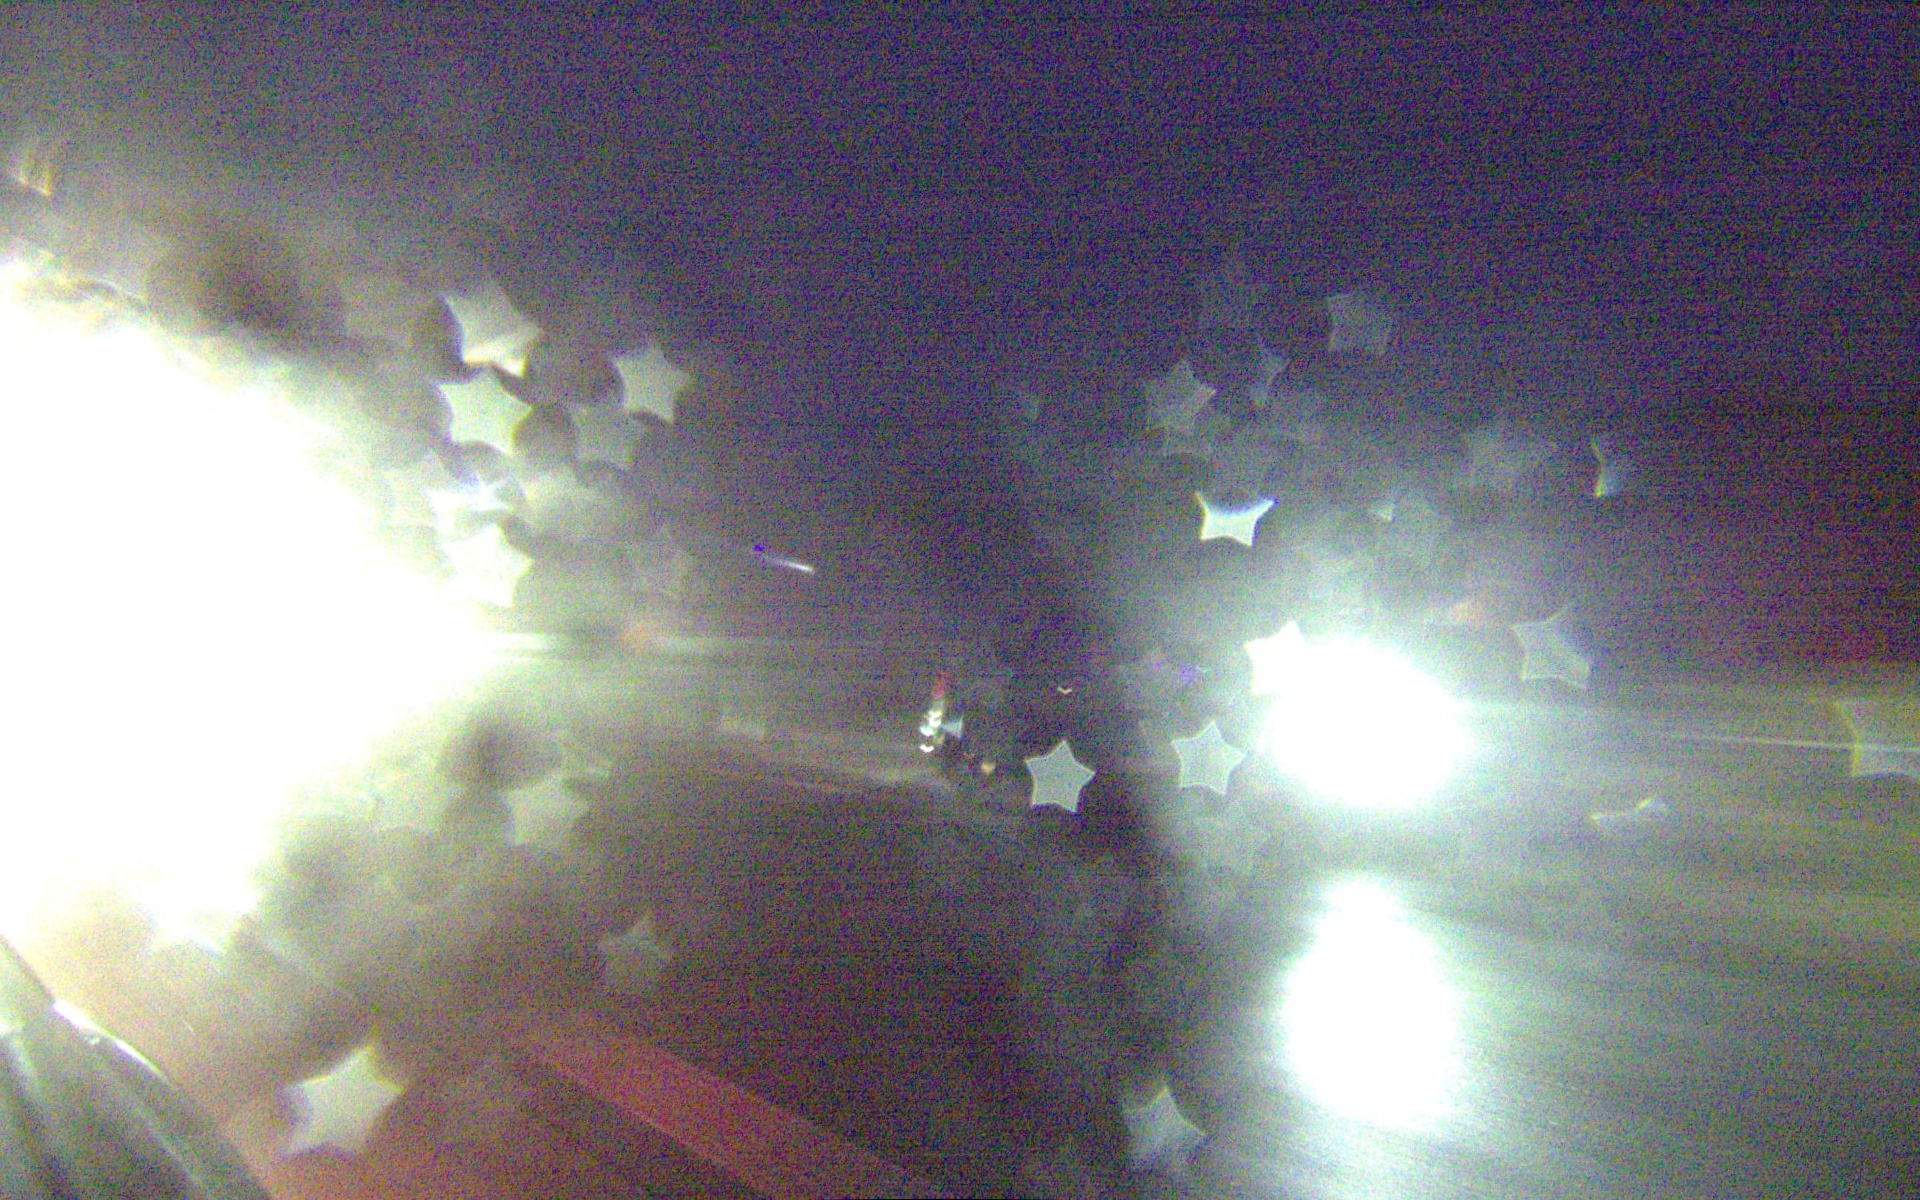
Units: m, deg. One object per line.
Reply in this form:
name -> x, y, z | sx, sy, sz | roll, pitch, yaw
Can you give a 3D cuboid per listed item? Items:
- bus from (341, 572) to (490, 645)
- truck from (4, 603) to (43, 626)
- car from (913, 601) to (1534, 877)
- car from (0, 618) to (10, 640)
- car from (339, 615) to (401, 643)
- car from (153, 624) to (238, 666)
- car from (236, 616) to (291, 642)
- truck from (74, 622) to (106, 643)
bus -> -37.354, 0.602, 68.817 | 17.002, 4.524, 3.043 | -1, 0, 41
truck -> -171.093, 2.658, 184.830 | 17.173, 3.917, 3.463 | -1, 0, 41
car -> 1.776, 0.767, 7.490 | 3.998, 1.452, 1.973 | -1, 0, 41
car -> -82.316, 2.440, 85.977 | 3.999, 1.821, 1.972 | -1, 0, 42
car -> -35.788, 1.714, 61.301 | 4.457, 1.569, 1.861 | -1, 0, 40
car -> -32.072, 1.844, 42.424 | 4.586, 1.572, 1.973 | -1, 0, 42
car -> -45.650, 1.867, 66.308 | 4.457, 1.569, 1.861 | -1, 0, 40
truck -> -107.029, 3.974, 124.482 | 6.434, 2.365, 1.973 | -1, 0, 40
